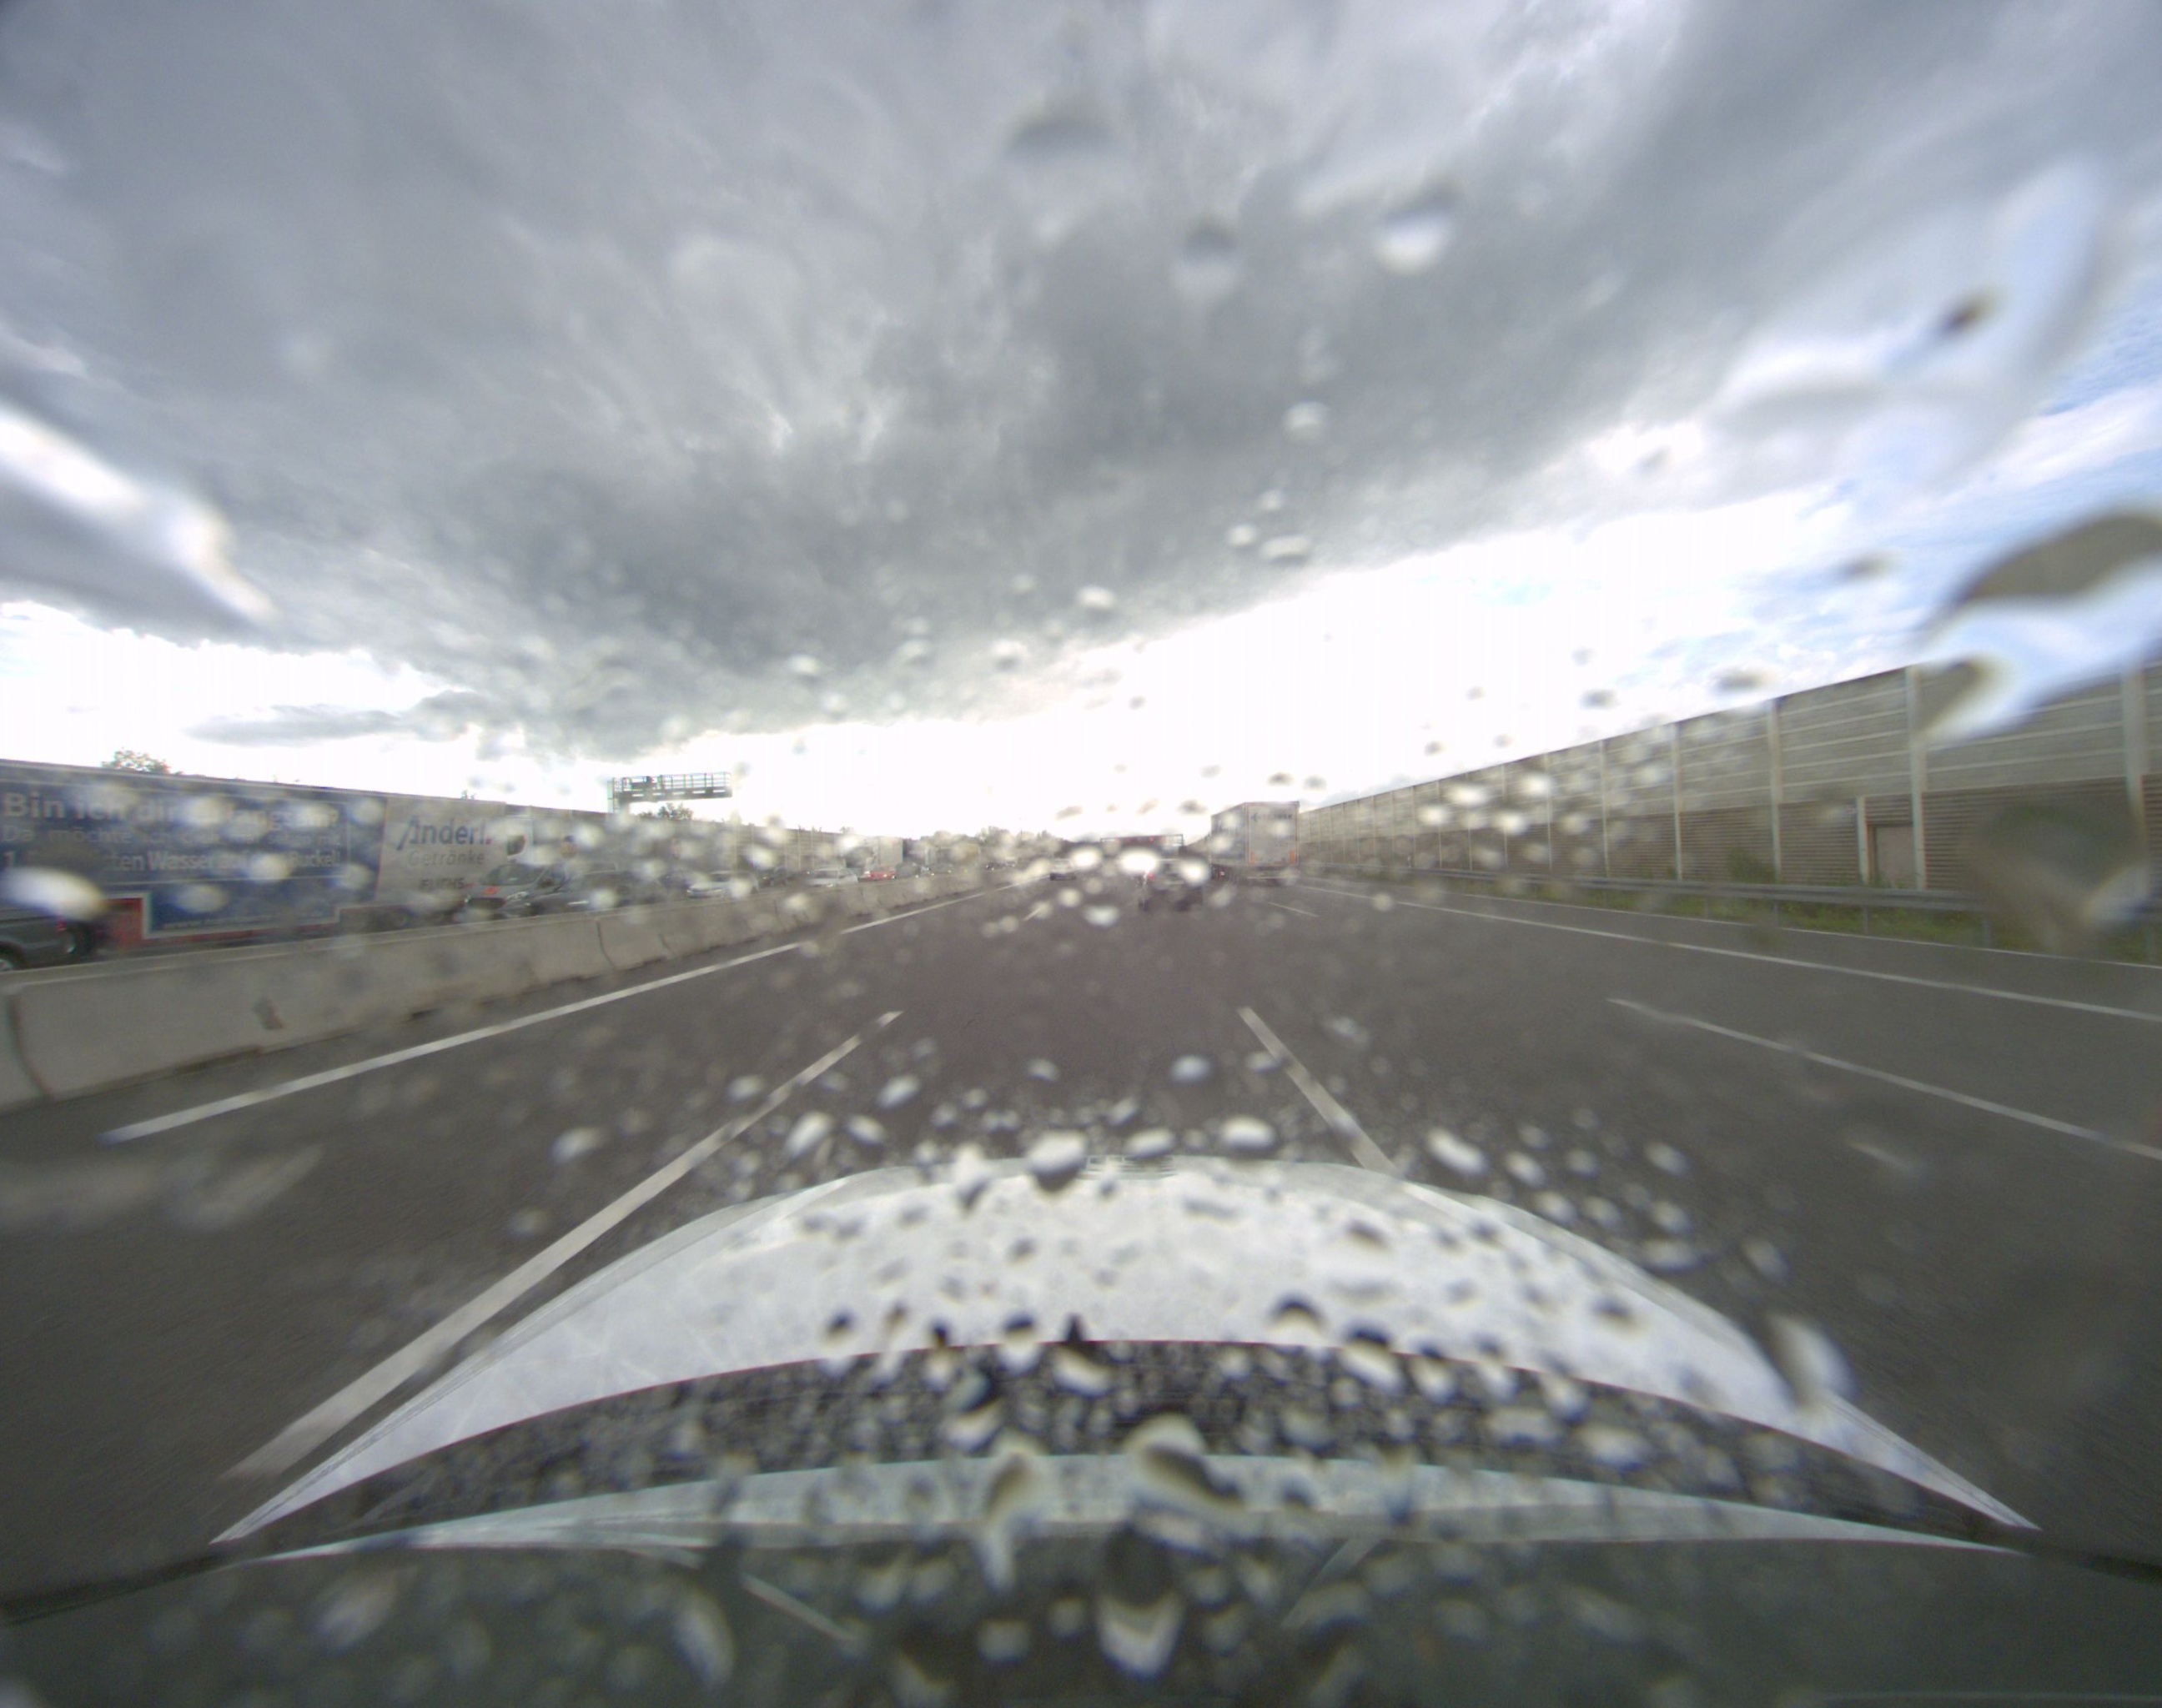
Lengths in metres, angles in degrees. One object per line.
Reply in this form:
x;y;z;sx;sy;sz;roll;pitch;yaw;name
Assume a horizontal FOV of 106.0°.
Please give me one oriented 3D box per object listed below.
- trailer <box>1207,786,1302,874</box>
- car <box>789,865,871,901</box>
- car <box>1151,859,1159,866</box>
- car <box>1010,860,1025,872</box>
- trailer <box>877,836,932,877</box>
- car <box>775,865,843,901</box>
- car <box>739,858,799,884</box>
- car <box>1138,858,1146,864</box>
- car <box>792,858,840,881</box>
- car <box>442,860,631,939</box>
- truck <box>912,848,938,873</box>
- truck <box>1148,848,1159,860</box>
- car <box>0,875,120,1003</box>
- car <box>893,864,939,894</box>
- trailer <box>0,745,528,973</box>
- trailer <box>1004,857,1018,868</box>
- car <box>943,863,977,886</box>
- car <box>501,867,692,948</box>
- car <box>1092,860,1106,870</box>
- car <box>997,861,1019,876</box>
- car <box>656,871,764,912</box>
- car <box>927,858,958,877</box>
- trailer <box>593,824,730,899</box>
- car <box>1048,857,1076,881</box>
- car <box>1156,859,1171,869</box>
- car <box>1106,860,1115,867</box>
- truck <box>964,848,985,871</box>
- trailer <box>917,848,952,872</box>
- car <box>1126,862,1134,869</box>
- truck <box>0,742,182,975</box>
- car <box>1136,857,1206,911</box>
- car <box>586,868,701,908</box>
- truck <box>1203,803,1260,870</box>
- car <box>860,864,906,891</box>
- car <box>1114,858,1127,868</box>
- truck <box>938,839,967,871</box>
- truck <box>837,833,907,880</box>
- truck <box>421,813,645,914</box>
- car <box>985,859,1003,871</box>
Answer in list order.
9.198;-1.060;45.216;2.750;4.032;14.461;-1;-1;3;trailer
-12.607;1.420;41.374;2.052;1.564;5.812;-1;0;3;car
18.748;2.183;206.322;1.873;1.561;4.439;-2;-2;6;car
-10.685;2.008;137.620;2.053;1.816;4.780;-1;0;2;car
-18.313;0.254;85.272;2.918;3.939;10.128;-1;0;3;trailer
-16.990;1.748;51.223;2.052;2.002;5.812;-1;0;3;car
-23.603;1.243;61.885;2.053;1.892;5.810;-1;0;2;car
16.744;1.809;223.438;1.957;1.561;4.443;-2;0;8;car
-23.202;1.324;71.500;2.053;1.892;5.810;-1;0;2;car
-16.851;1.310;25.665;2.052;2.159;5.436;-1;0;3;car
-26.414;1.060;137.969;2.904;4.035;5.731;-1;-1;3;truck
23.040;-0.037;257.967;3.137;3.602;12.718;0;0;6;truck
-17.420;1.329;11.138;1.926;1.897;5.436;-1;0;3;car
-11.922;1.762;59.172;2.054;2.002;5.808;-1;0;1;car
-20.987;0.150;21.039;3.046;4.160;14.324;-1;0;3;trailer
-16.238;1.926;189.010;2.448;2.495;6.091;-1;0;4;trailer
-11.360;1.902;76.848;2.053;2.002;5.810;-1;0;2;car
-13.462;1.389;23.167;1.926;1.897;5.436;-1;0;3;car
3.053;1.923;139.636;1.958;1.561;4.439;-2;-2;6;car
-8.993;1.747;100.803;2.053;1.755;5.810;-1;0;2;car
-17.007;1.655;37.769;2.052;1.600;5.812;-1;0;3;car
-14.654;1.388;86.422;2.053;1.892;5.810;-1;0;2;car
-23.894;0.402;47.141;2.711;3.872;9.289;-1;0;2;trailer
-1.342;1.027;59.009;1.710;1.624;4.281;-1;0;2;car
12.105;1.447;120.098;1.942;1.418;4.234;-2;-1;2;car
7.171;2.352;198.320;1.958;1.561;4.439;-2;-2;6;car
-19.155;1.060;146.605;2.733;4.035;5.731;-1;-1;3;truck
-25.970;1.132;145.272;2.923;4.032;13.873;-1;-1;4;trailer
12.633;3.001;211.491;1.959;1.561;4.438;-2;-2;4;car
-21.260;0.113;14.416;3.059;4.244;6.696;-1;0;2;truck
2.601;0.822;24.330;1.711;1.417;4.280;-1;0;2;car
-20.517;1.547;38.544;2.052;1.600;5.812;-1;0;3;car
9.507;-1.029;52.032;2.734;4.035;5.729;-1;-1;2;truck
-15.847;1.849;65.520;2.053;2.002;5.810;-1;0;2;car
6.962;1.530;141.618;1.958;1.561;4.439;-2;-2;6;car
-16.983;0.136;107.937;2.734;4.035;5.729;-1;-1;2;truck
-18.951;0.220;74.705;2.925;3.945;11.076;-1;0;3;truck
-24.335;0.380;37.217;2.676;3.898;10.506;-1;0;2;truck
-12.907;1.640;120.649;2.053;1.699;4.412;-1;0;2;car
